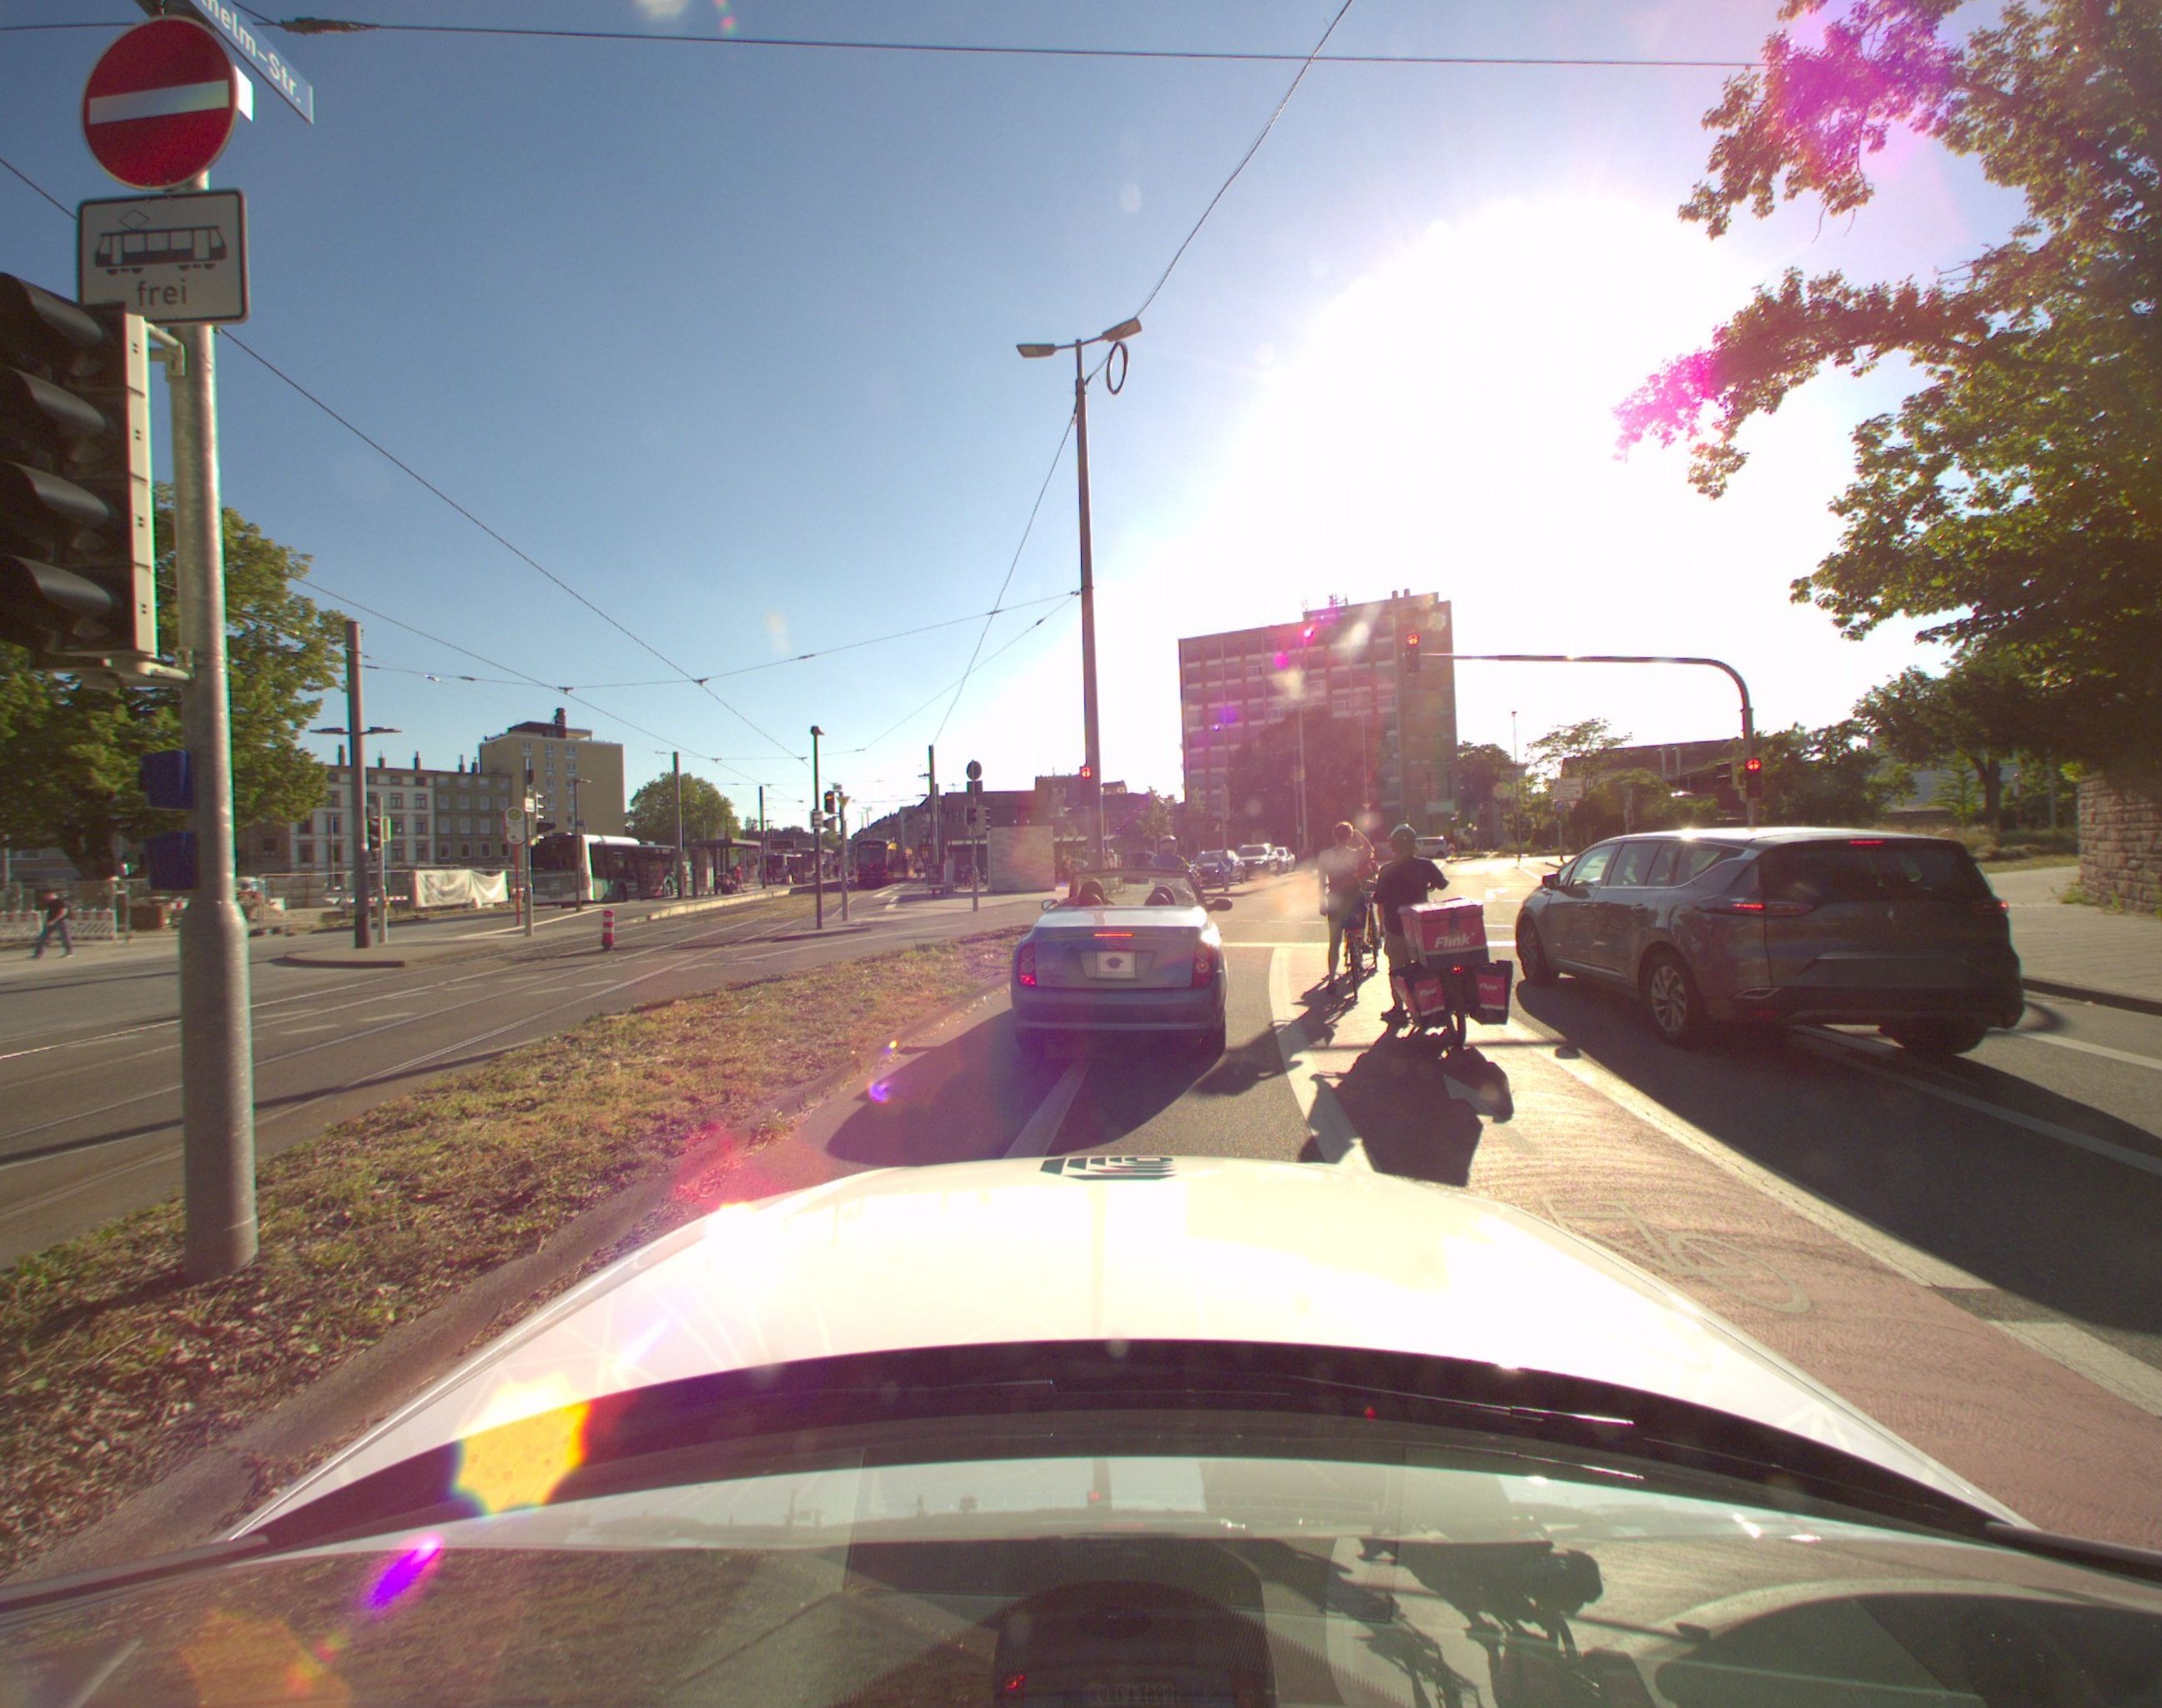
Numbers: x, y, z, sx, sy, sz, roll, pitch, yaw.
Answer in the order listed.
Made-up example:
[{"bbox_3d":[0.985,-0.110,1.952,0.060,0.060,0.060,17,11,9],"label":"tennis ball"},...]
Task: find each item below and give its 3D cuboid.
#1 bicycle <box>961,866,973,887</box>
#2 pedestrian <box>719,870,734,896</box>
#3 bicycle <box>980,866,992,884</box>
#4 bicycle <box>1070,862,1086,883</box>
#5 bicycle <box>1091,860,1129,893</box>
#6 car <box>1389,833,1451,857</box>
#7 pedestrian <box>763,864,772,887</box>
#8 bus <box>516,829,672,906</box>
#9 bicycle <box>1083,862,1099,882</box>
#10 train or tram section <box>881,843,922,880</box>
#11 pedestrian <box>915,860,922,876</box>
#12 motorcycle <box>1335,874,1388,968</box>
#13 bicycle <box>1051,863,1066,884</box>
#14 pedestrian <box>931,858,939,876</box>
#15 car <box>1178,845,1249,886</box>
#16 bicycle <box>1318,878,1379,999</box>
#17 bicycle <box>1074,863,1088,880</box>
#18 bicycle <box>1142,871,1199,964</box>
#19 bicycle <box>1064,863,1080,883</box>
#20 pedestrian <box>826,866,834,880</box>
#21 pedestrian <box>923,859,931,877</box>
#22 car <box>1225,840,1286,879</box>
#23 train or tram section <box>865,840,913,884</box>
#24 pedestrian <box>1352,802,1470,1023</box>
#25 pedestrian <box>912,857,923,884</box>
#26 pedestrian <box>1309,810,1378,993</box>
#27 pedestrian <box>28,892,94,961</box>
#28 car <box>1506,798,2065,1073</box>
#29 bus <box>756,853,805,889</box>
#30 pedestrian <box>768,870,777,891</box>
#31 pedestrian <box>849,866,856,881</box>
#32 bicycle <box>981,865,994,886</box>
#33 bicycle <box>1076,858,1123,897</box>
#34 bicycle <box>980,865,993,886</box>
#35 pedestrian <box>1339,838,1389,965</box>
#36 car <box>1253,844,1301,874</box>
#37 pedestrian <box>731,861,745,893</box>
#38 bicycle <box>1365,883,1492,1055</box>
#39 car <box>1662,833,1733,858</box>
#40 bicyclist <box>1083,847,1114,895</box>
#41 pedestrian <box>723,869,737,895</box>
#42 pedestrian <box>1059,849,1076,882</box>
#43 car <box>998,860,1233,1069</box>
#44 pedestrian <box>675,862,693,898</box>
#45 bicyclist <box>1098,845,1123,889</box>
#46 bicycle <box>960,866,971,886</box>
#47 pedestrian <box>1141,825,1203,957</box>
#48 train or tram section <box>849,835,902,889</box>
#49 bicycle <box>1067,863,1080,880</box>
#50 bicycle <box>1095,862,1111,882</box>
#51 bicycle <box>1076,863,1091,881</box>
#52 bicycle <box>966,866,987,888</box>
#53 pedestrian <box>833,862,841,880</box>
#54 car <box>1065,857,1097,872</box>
[{"bbox_3d":[-6.214,1.231,44.357,0.607,1.115,1.890,0,-1,-10],"label":"bicycle"},{"bbox_3d":[-18.604,1.519,42.774,0.617,1.340,0.438,-2,-1,-15],"label":"pedestrian"},{"bbox_3d":[-5.903,1.286,50.622,0.607,1.115,1.890,0,-1,-10],"label":"bicycle"},{"bbox_3d":[-0.181,1.014,45.409,0.607,1.115,1.890,0,-1,-10],"label":"bicycle"},{"bbox_3d":[1.152,0.846,31.571,0.668,1.180,2.195,-3,0,24],"label":"bicycle"},{"bbox_3d":[30.019,-0.797,72.186,4.686,1.945,1.910,-2,0,-7],"label":"car"},{"bbox_3d":[-24.879,1.699,64.629,0.641,1.749,0.567,-2,-1,-25],"label":"pedestrian"},{"bbox_3d":[-22.372,0.572,38.220,2.652,3.135,9.617,0,-1,-8],"label":"bus"},{"bbox_3d":[0.555,1.054,47.712,0.607,1.115,1.890,0,-1,-10],"label":"bicycle"},{"bbox_3d":[-18.603,0.811,85.226,3.037,3.597,12.021,0,0,-7],"label":"train or tram section"},{"bbox_3d":[-18.075,1.529,90.533,0.604,1.749,0.830,-2,-1,-6],"label":"pedestrian"},{"bbox_3d":[3.826,0.844,11.103,0.608,1.097,2.371,-1,-1,19],"label":"motorcycle"},{"bbox_3d":[-1.255,1.080,45.293,0.607,1.115,1.890,0,-1,-10],"label":"bicycle"},{"bbox_3d":[-14.246,1.289,79.455,0.639,1.749,0.732,-2,-1,-17],"label":"pedestrian"},{"bbox_3d":[5.546,0.468,33.641,1.720,1.574,3.948,-1,-1,28],"label":"car"},{"bbox_3d":[2.932,0.858,9.020,0.559,1.151,1.958,-1,-1,17],"label":"bicycle"},{"bbox_3d":[-0.032,1.131,53.389,0.607,1.115,1.890,0,-1,-10],"label":"bicycle"},{"bbox_3d":[1.356,0.865,11.985,0.604,1.191,2.422,-1,-1,12],"label":"bicycle"},{"bbox_3d":[-0.544,1.092,47.350,0.607,1.115,1.890,0,-1,-10],"label":"bicycle"},{"bbox_3d":[-30.695,2.329,99.640,0.732,1.749,0.638,-2,-1,-6],"label":"pedestrian"},{"bbox_3d":[-14.954,1.357,78.966,0.639,1.749,0.732,-2,-1,-17],"label":"pedestrian"},{"bbox_3d":[8.568,0.212,39.662,1.745,1.706,4.557,-4,-1,26],"label":"car"},{"bbox_3d":[-17.068,0.703,73.255,3.010,3.597,12.165,0,0,-8],"label":"train or tram section"},{"bbox_3d":[2.976,0.502,7.445,0.801,1.869,0.959,-1,-1,10],"label":"pedestrian"},{"bbox_3d":[-10.779,1.059,53.653,0.639,1.749,0.569,-2,-1,-17],"label":"pedestrian"},{"bbox_3d":[2.835,0.490,8.837,0.654,1.869,0.876,-1,-1,17],"label":"pedestrian"},{"bbox_3d":[-26.254,1.850,20.978,0.712,1.697,0.893,-3,-2,-25],"label":"pedestrian"},{"bbox_3d":[5.539,0.522,7.318,1.820,1.689,4.381,-1,-1,10],"label":"car"},{"bbox_3d":[-29.671,1.585,80.945,2.723,3.274,13.409,0,-1,-12],"label":"bus"},{"bbox_3d":[-25.515,2.170,67.364,0.571,1.749,0.636,-2,-1,-17],"label":"pedestrian"},{"bbox_3d":[-28.897,2.462,102.974,0.732,1.749,0.638,-2,-1,-6],"label":"pedestrian"},{"bbox_3d":[-5.376,1.224,46.733,0.607,1.115,1.890,0,-1,-10],"label":"bicycle"},{"bbox_3d":[0.673,0.811,28.967,0.668,1.250,2.471,-5,-1,24],"label":"bicycle"},{"bbox_3d":[-5.179,1.192,44.663,0.607,1.115,1.890,0,-1,-10],"label":"bicycle"},{"bbox_3d":[3.769,0.605,10.843,0.583,1.598,1.030,-1,-1,19],"label":"pedestrian"},{"bbox_3d":[11.164,0.251,46.215,1.678,1.560,4.004,-3,0,28],"label":"car"},{"bbox_3d":[-19.113,1.274,45.337,0.571,1.749,0.636,-2,-1,-15],"label":"pedestrian"},{"bbox_3d":[2.933,0.873,7.093,0.550,1.171,2.380,-1,-1,12],"label":"bicycle"},{"bbox_3d":[52.569,-0.736,69.577,4.645,1.945,1.927,-3,-1,35],"label":"car"},{"bbox_3d":[0.626,0.595,28.902,0.702,1.657,0.906,-5,-2,24],"label":"bicyclist"},{"bbox_3d":[-18.734,1.473,43.460,0.571,1.346,0.636,-2,-1,-15],"label":"pedestrian"},{"bbox_3d":[-0.773,0.681,46.945,0.901,1.869,0.684,0,-1,-11],"label":"pedestrian"},{"bbox_3d":[0.548,0.782,7.794,1.650,1.441,4.164,-1,-1,9],"label":"car"},{"bbox_3d":[-19.623,1.271,40.262,0.536,1.749,0.559,-2,-1,-4],"label":"pedestrian"},{"bbox_3d":[1.145,0.489,31.600,0.702,1.657,0.747,-3,-1,24],"label":"bicyclist"},{"bbox_3d":[-6.562,1.250,46.291,0.606,1.115,1.891,0,-1,-8],"label":"bicycle"},{"bbox_3d":[1.368,0.526,12.055,0.828,1.869,0.923,-1,-1,10],"label":"pedestrian"},{"bbox_3d":[-15.263,0.581,61.213,2.881,3.597,12.158,0,-1,-10],"label":"train or tram section"},{"bbox_3d":[-0.560,1.204,56.909,0.607,1.115,1.890,0,-1,-10],"label":"bicycle"},{"bbox_3d":[1.237,1.006,45.678,0.606,1.115,1.892,0,-1,-7],"label":"bicycle"},{"bbox_3d":[0.129,1.137,51.412,0.607,1.115,1.890,0,-1,-10],"label":"bicycle"},{"bbox_3d":[-5.468,1.202,42.733,0.603,1.115,1.901,0,-1,8],"label":"bicycle"},{"bbox_3d":[-23.064,1.601,77.023,0.641,1.749,0.567,-2,-1,-25],"label":"pedestrian"},{"bbox_3d":[-0.033,1.175,88.862,1.653,1.560,3.559,-2,0,-37],"label":"car"}]
